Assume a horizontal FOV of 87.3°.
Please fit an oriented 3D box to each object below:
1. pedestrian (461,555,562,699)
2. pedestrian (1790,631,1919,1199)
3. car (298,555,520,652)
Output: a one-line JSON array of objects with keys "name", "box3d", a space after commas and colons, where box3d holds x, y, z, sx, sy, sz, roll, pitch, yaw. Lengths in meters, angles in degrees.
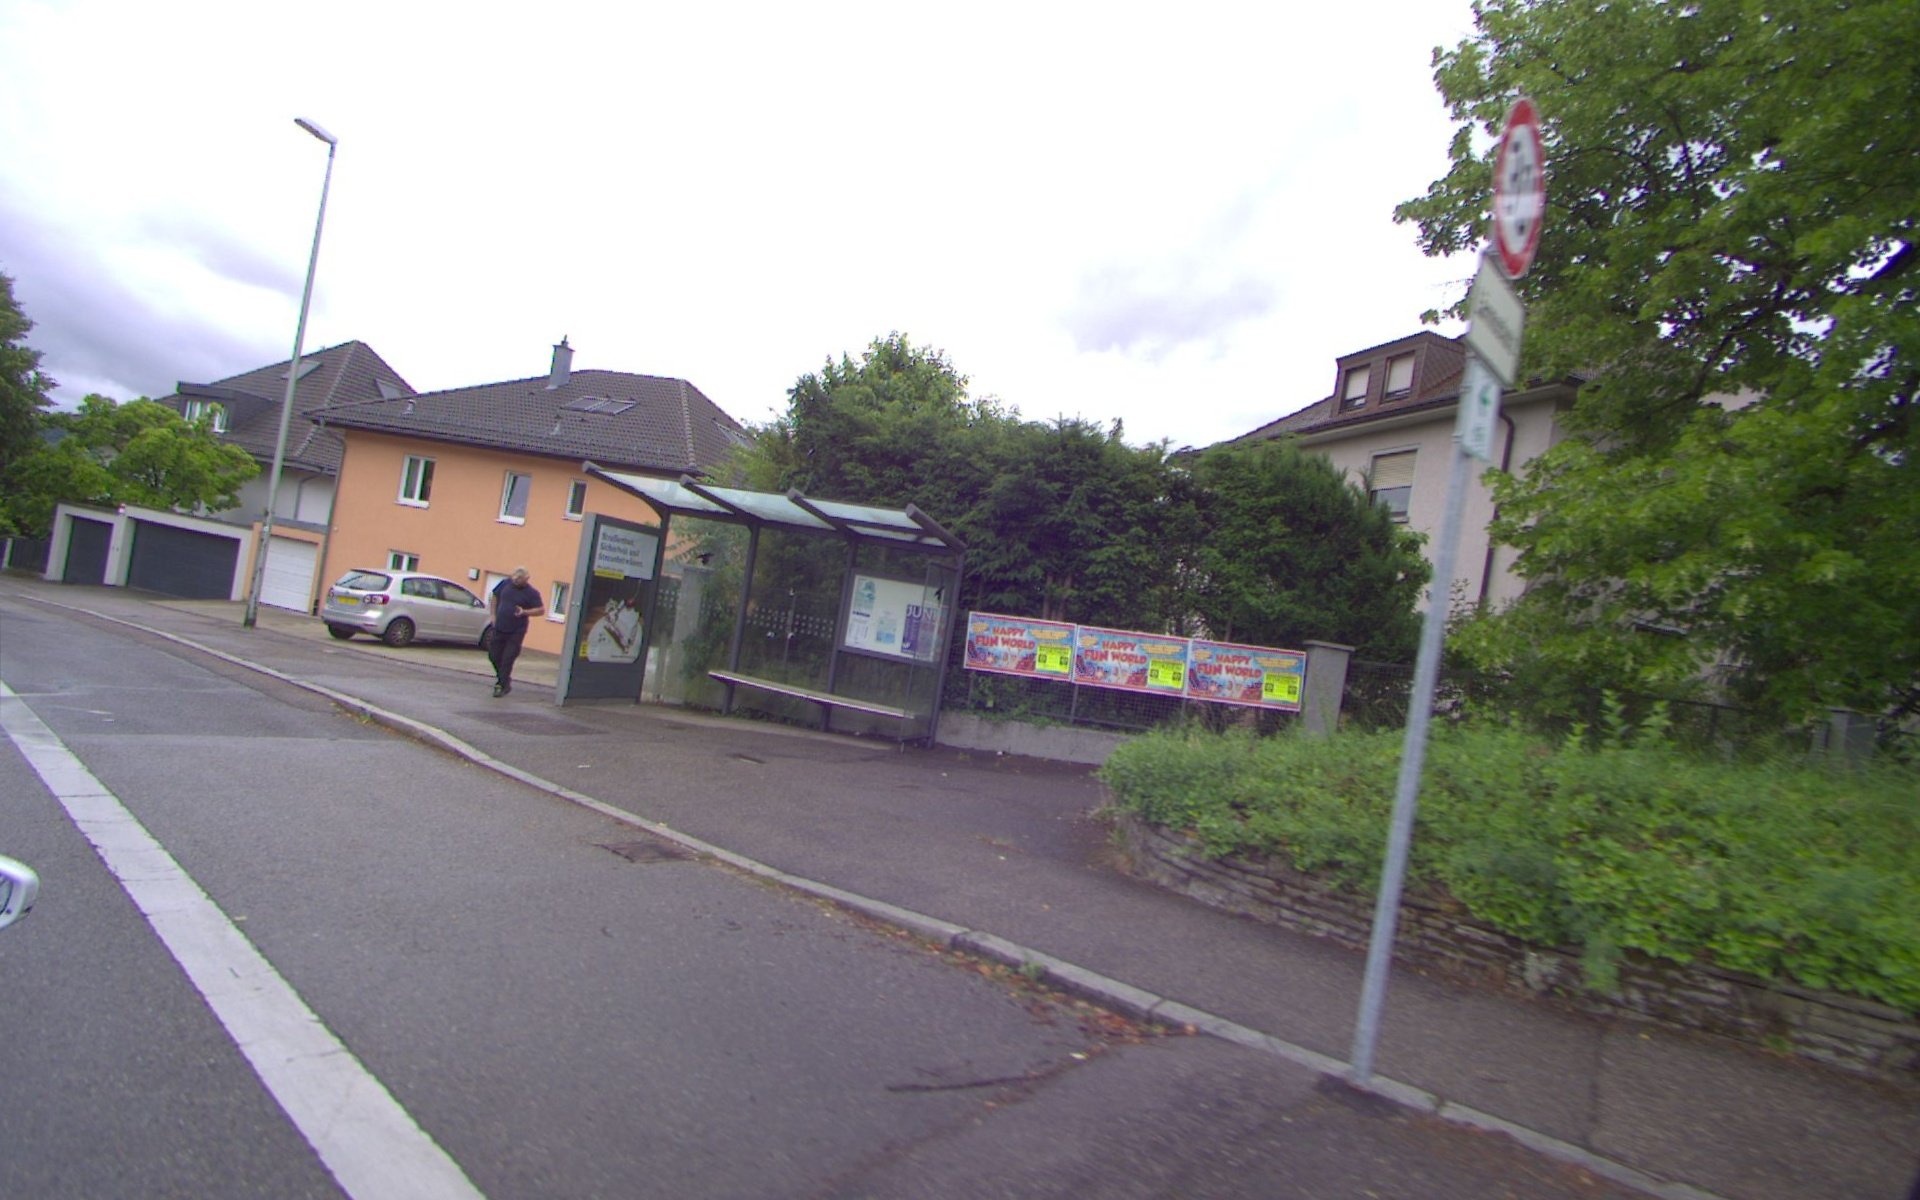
[{"name": "pedestrian", "box3d": [-5.755, 0.338, 12.974, 0.999, 1.717, 0.951, 5, 1, -22]}, {"name": "pedestrian", "box3d": [2.854, 0.979, 2.703, 0.520, 1.733, 0.636, 8, 0, 3]}, {"name": "car", "box3d": [-11.988, 0.154, 22.199, 1.867, 1.651, 3.906, 8, -2, 19]}]
